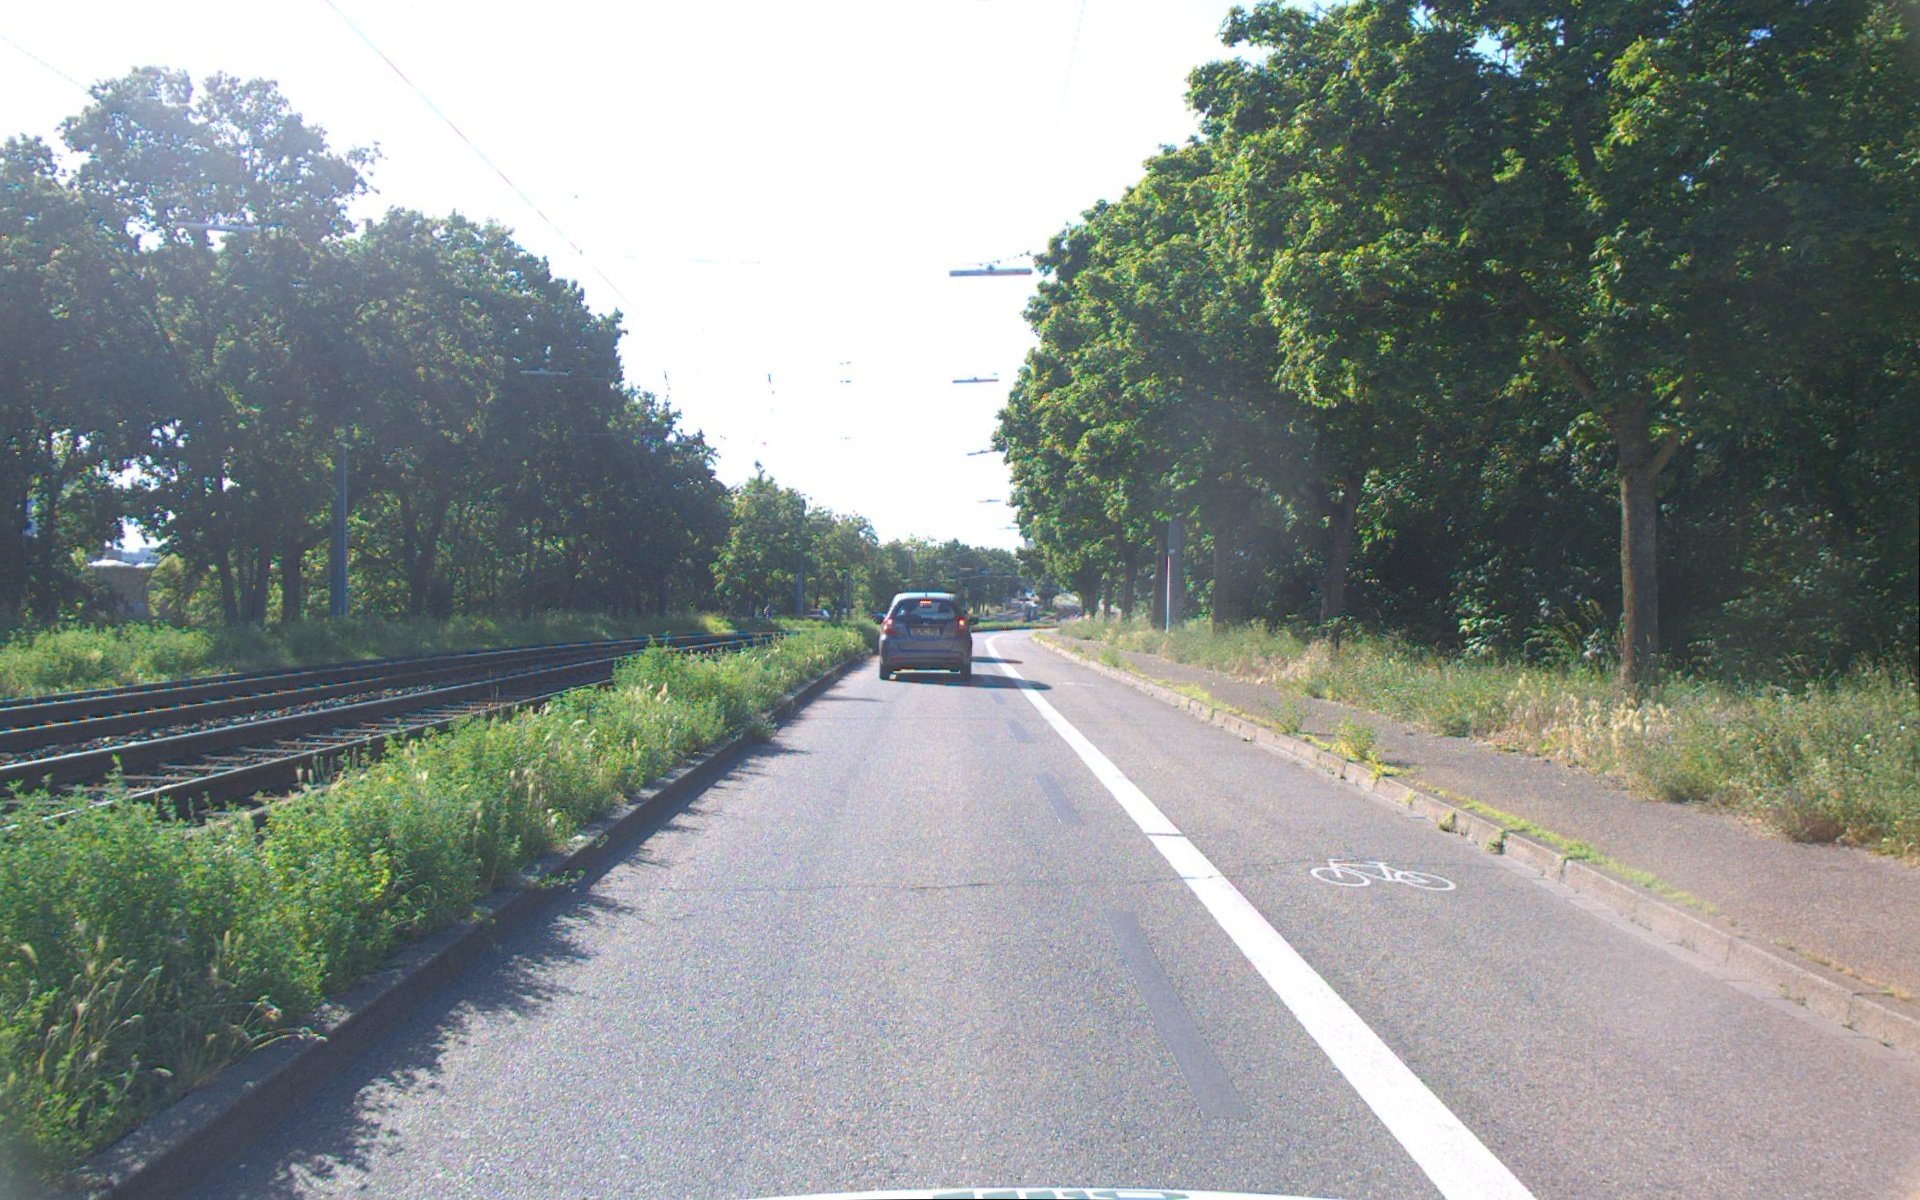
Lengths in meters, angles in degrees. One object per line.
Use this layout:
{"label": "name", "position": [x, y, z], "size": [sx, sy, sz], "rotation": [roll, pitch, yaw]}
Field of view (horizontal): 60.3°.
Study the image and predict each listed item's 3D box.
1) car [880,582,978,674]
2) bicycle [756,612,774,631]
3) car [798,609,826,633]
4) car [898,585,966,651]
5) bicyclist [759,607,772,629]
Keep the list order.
{"label": "car", "position": [-0.541, 0.464, 30.479], "size": [1.636, 1.534, 3.811], "rotation": [2, 0, 0]}
{"label": "bicycle", "position": [-14.300, 1.585, 121.386], "size": [0.772, 1.216, 3.170], "rotation": [2, 2, 2]}
{"label": "car", "position": [-13.364, 1.867, 149.884], "size": [1.952, 1.908, 4.002], "rotation": [2, 2, 2]}
{"label": "car", "position": [-0.701, 0.433, 42.530], "size": [1.621, 1.534, 3.811], "rotation": [2, 1, 0]}
{"label": "bicyclist", "position": [-14.291, 1.300, 121.473], "size": [0.773, 1.515, 1.109], "rotation": [2, 2, 2]}
